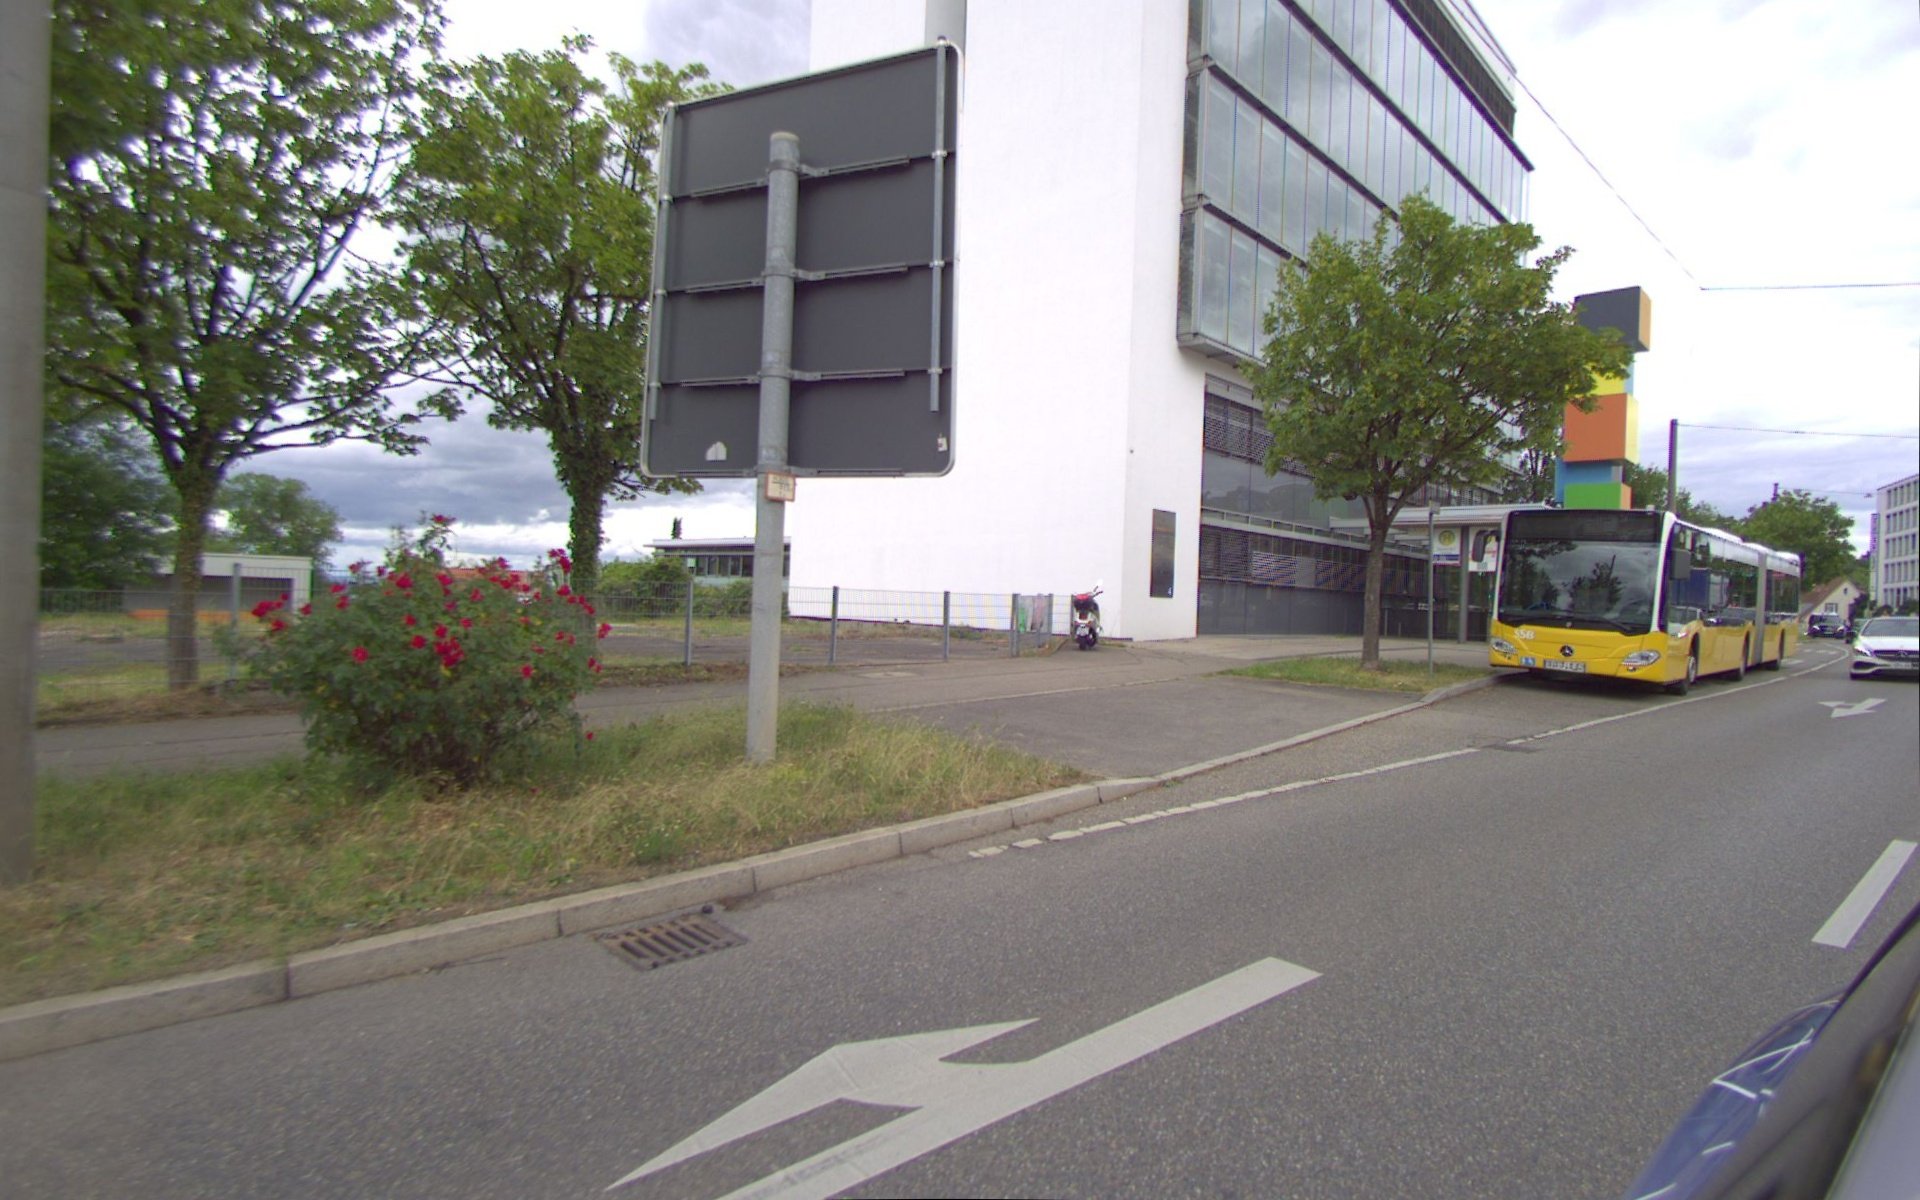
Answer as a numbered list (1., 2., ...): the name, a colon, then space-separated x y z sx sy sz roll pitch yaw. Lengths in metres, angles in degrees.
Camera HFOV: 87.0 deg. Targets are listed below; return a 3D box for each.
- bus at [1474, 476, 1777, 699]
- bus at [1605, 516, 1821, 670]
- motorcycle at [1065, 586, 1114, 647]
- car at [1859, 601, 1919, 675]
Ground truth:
1. bus: 13.115 -0.238 19.403 2.984 3.281 9.706 2 1 45
2. bus: 19.373 -0.191 25.733 9.185 3.276 3.038 0 2 -45
3. motorcycle: 2.600 0.302 20.112 0.812 1.129 1.736 2 1 12
4. car: 21.909 0.811 23.086 1.868 1.524 4.696 0 0 45
